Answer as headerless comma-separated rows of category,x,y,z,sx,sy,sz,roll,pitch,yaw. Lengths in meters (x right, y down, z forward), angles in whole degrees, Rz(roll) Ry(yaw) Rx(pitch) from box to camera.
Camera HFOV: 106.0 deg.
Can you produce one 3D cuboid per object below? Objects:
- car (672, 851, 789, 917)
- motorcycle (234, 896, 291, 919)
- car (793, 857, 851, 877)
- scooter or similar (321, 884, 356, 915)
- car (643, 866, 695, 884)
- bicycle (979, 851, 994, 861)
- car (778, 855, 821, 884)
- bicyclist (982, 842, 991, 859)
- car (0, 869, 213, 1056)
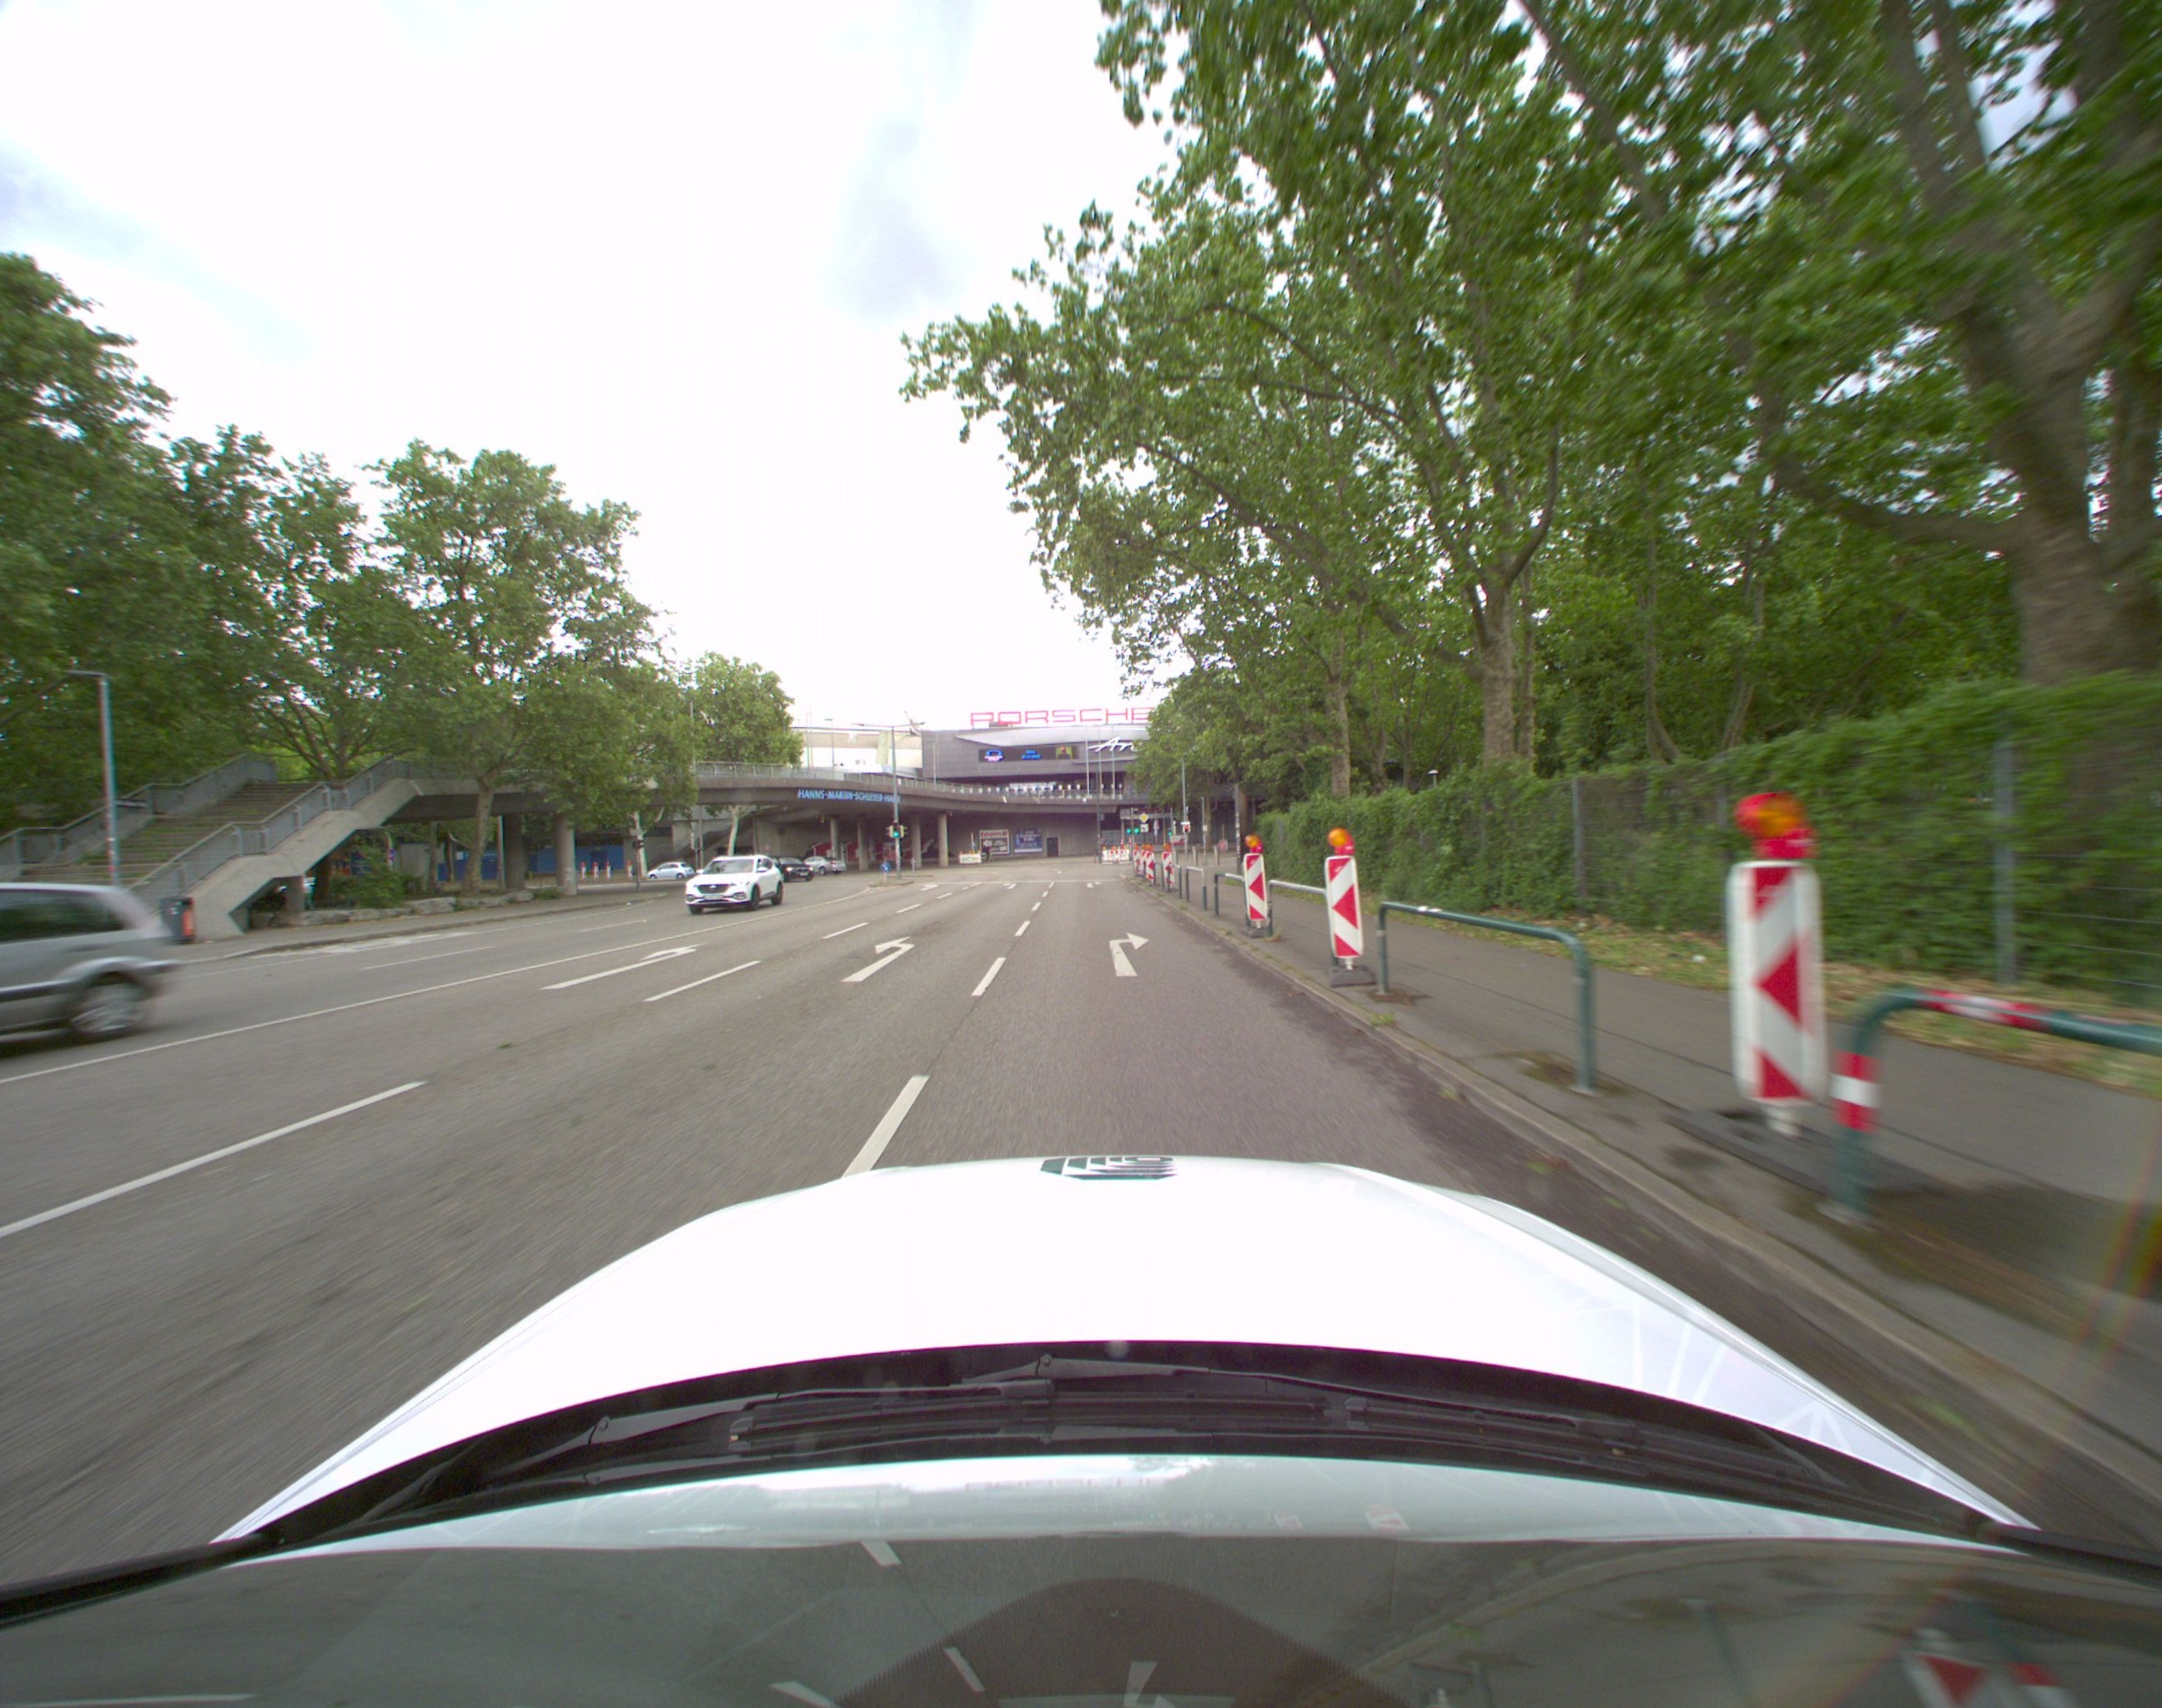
car,-10.610,0.864,25.072,1.992,1.744,4.584,-3,0,-7
motorcycle,-36.014,2.348,35.851,0.644,0.851,1.740,-2,0,5
car,-20.160,1.024,63.397,3.950,1.418,2.012,-2,0,25
scooter or similar,-33.023,2.009,36.208,0.415,1.319,1.227,-3,-2,-1
car,-33.263,1.669,65.830,3.372,1.313,1.616,-2,0,1
bicycle,-9.523,0.189,81.981,1.530,1.013,0.516,-1,-1,-5
car,-17.338,0.946,50.073,1.780,1.606,4.387,-3,0,-28
bicyclist,-9.533,-0.329,81.991,0.850,1.697,0.766,0,-1,-4
car,-9.961,0.961,6.383,1.988,1.525,3.998,-3,0,-1
